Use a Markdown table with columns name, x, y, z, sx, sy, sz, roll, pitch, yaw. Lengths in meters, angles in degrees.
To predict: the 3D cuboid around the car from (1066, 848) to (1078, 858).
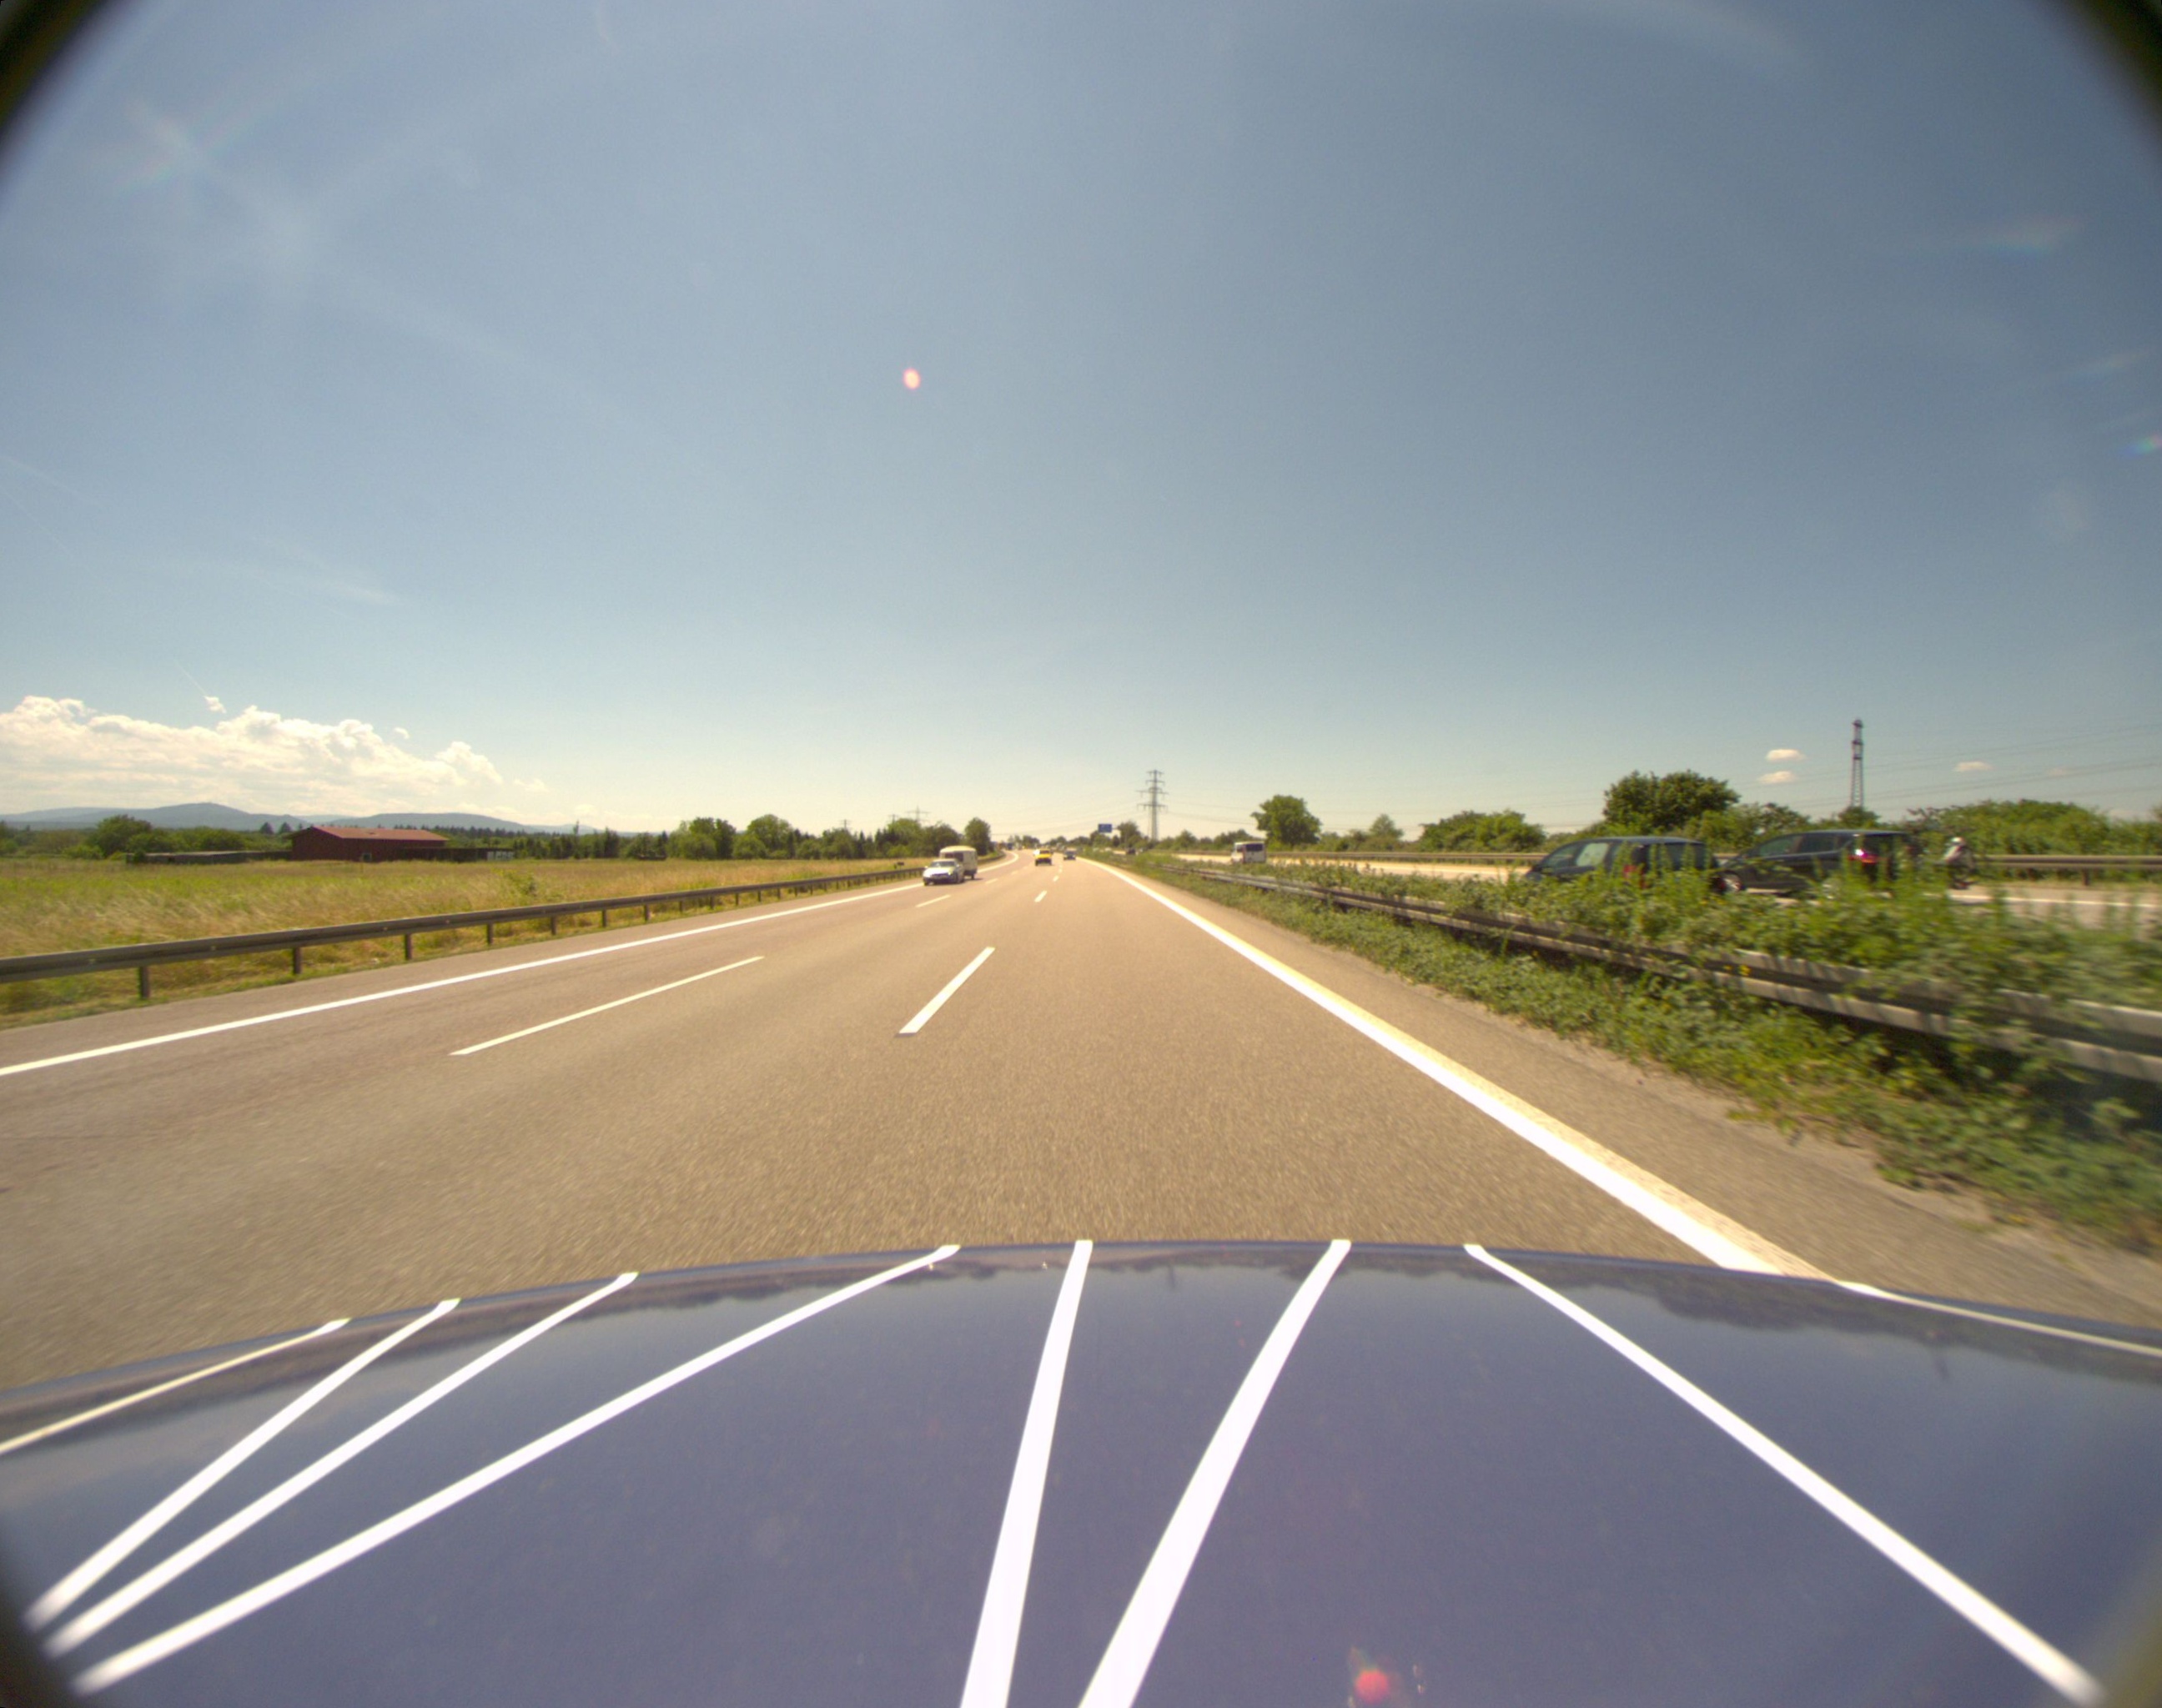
| name | x | y | z | sx | sy | sz | roll | pitch | yaw |
| --- | --- | --- | --- | --- | --- | --- | --- | --- | --- |
| car | -1.435 | -0.129 | 119.251 | 1.726 | 1.478 | 3.998 | -2 | 0 | -3 |

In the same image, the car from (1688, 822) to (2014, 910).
| name | x | y | z | sx | sy | sz | roll | pitch | yaw |
| --- | --- | --- | --- | --- | --- | --- | --- | --- | --- |
| car | 17.051 | 0.199 | 17.424 | 1.680 | 1.592 | 5.634 | -3 | 1 | -1 |

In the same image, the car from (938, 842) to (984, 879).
| name | x | y | z | sx | sy | sz | roll | pitch | yaw |
| --- | --- | --- | --- | --- | --- | --- | --- | --- | --- |
| car | -7.788 | 0.390 | 49.934 | 2.188 | 2.253 | 4.951 | -1 | 1 | 0 |

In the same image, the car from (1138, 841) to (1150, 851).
| name | x | y | z | sx | sy | sz | roll | pitch | yaw |
| --- | --- | --- | --- | --- | --- | --- | --- | --- | --- |
| car | 13.034 | -1.688 | 157.189 | 1.909 | 2.002 | 4.823 | -2 | 1 | -2 |

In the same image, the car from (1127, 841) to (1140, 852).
| name | x | y | z | sx | sy | sz | roll | pitch | yaw |
| --- | --- | --- | --- | --- | --- | --- | --- | --- | --- |
| car | 10.254 | -1.463 | 149.184 | 1.909 | 2.002 | 4.823 | -2 | 1 | -2 |

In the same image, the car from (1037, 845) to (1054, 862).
| name | x | y | z | sx | sy | sz | roll | pitch | yaw |
| --- | --- | --- | --- | --- | --- | --- | --- | --- | --- |
| car | -4.056 | -0.071 | 87.422 | 1.776 | 1.882 | 3.832 | -1 | 1 | 0 |

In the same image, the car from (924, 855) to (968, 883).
| name | x | y | z | sx | sy | sz | roll | pitch | yaw |
| --- | --- | --- | --- | --- | --- | --- | --- | --- | --- |
| car | -7.650 | 0.836 | 43.453 | 1.784 | 1.467 | 3.999 | -1 | 1 | 0 |

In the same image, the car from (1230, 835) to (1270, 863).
| name | x | y | z | sx | sy | sz | roll | pitch | yaw |
| --- | --- | --- | --- | --- | --- | --- | --- | --- | --- |
| car | 13.363 | -0.404 | 60.508 | 1.909 | 2.002 | 4.823 | -2 | 1 | -2 |

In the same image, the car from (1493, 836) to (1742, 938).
| name | x | y | z | sx | sy | sz | roll | pitch | yaw |
| --- | --- | --- | --- | --- | --- | --- | --- | --- | --- |
| car | 9.478 | 0.500 | 13.887 | 1.715 | 1.565 | 3.999 | -1 | 1 | 0 |
